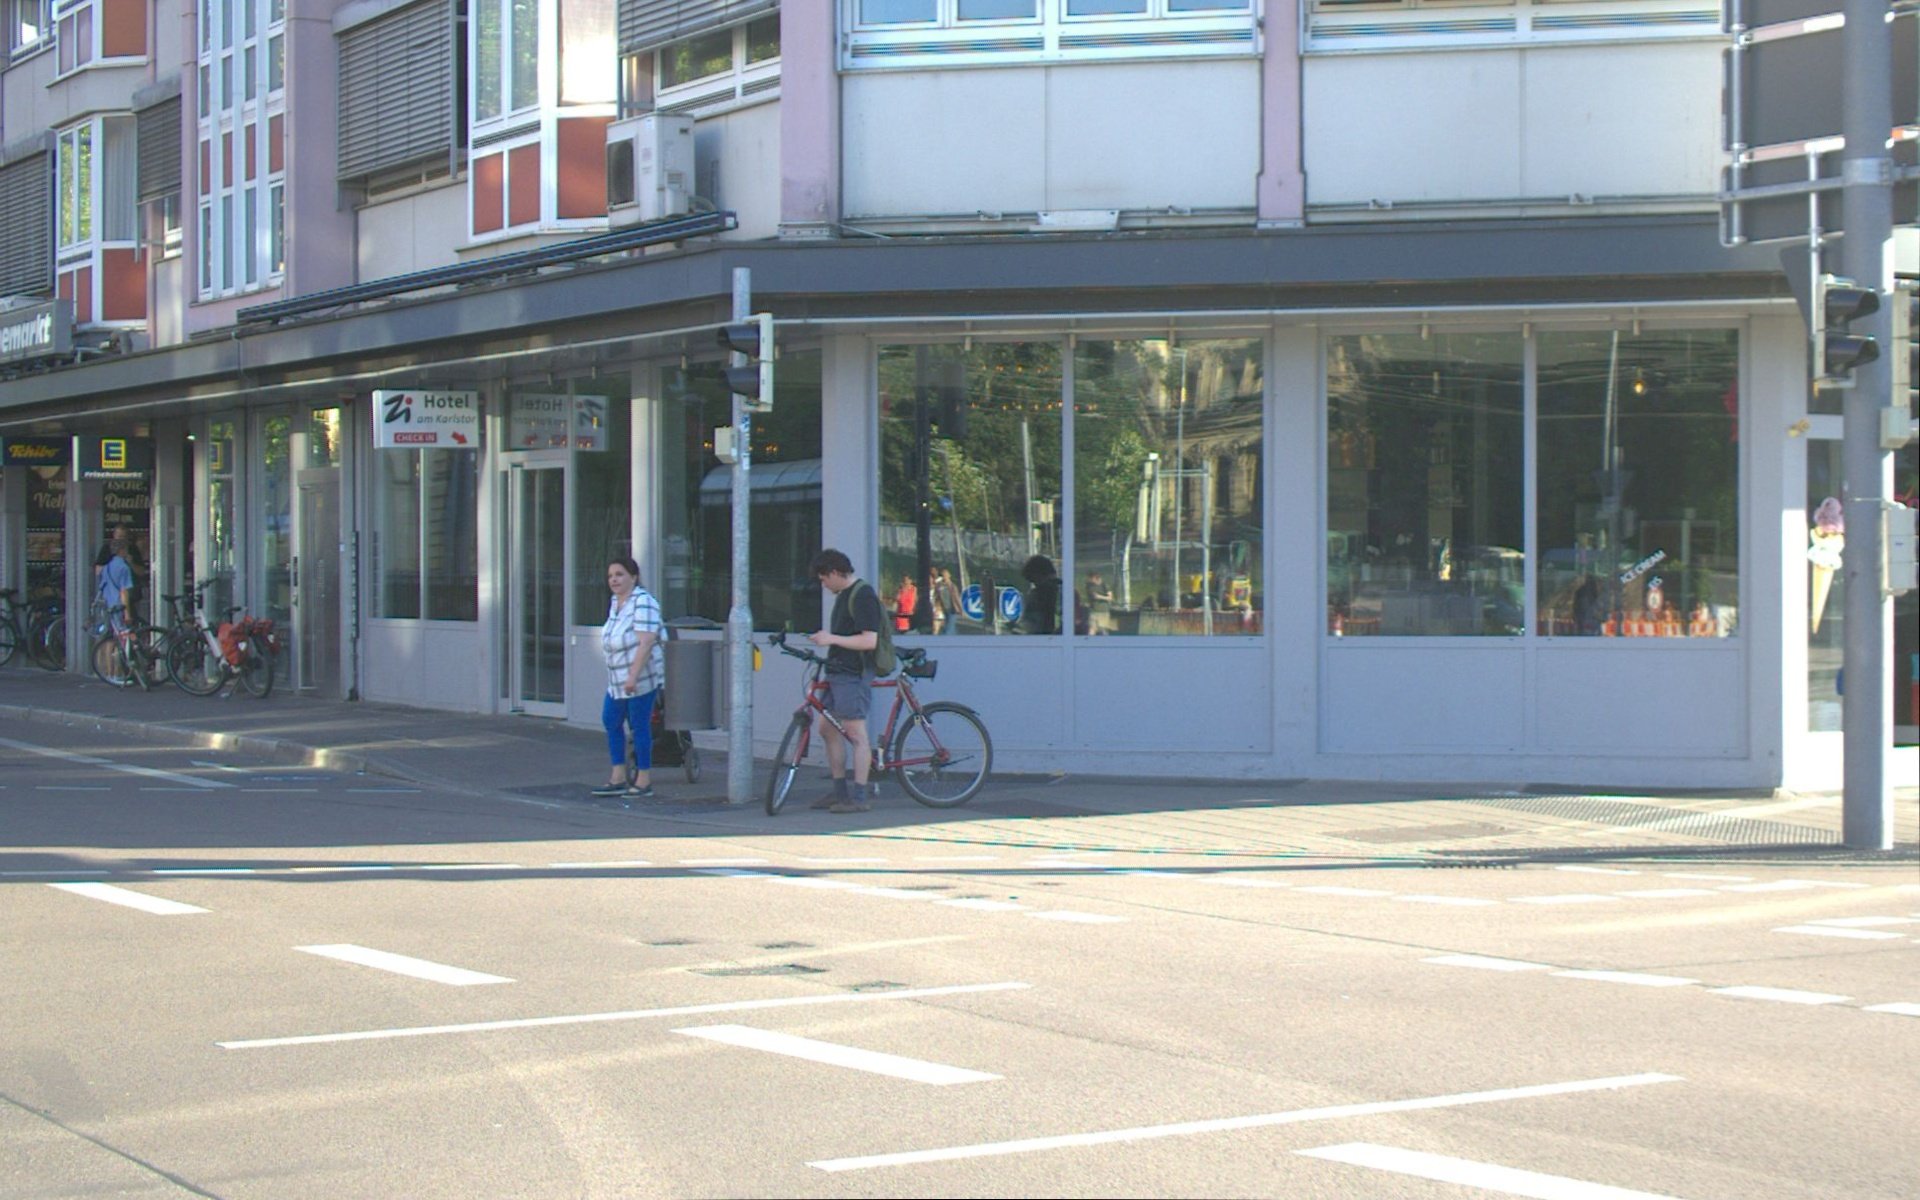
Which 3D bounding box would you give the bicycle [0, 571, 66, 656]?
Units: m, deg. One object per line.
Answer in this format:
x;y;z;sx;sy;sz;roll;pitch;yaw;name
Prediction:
-12.925;0.178;46.236;1.644;1.115;0.566;0;2;-35;bicycle

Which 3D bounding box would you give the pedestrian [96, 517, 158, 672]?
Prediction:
-10.092;-0.071;41.653;0.608;1.846;0.604;0;2;-25;pedestrian

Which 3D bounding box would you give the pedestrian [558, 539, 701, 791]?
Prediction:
-2.217;0.423;23.081;0.715;1.656;0.632;0;0;32;pedestrian

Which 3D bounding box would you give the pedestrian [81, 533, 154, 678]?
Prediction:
-9.658;0.054;39.415;0.609;1.629;0.603;1;2;11;pedestrian

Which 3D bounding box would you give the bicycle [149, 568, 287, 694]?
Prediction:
-7.575;0.294;35.013;0.727;1.222;2.332;0;1;-29;bicycle

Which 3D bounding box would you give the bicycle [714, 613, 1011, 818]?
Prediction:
-0.609;0.713;21.781;1.764;1.141;0.641;-3;4;-31;bicycle

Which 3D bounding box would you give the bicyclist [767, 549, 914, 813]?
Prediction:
-0.755;0.494;21.681;0.656;1.591;0.641;-3;4;-31;bicyclist

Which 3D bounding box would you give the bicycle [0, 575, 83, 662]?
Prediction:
-12.352;0.236;44.925;1.644;1.115;0.484;0;2;-35;bicycle

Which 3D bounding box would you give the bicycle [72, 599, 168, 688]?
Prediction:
-9.194;0.462;37.585;0.500;0.914;2.079;0;1;-29;bicycle
